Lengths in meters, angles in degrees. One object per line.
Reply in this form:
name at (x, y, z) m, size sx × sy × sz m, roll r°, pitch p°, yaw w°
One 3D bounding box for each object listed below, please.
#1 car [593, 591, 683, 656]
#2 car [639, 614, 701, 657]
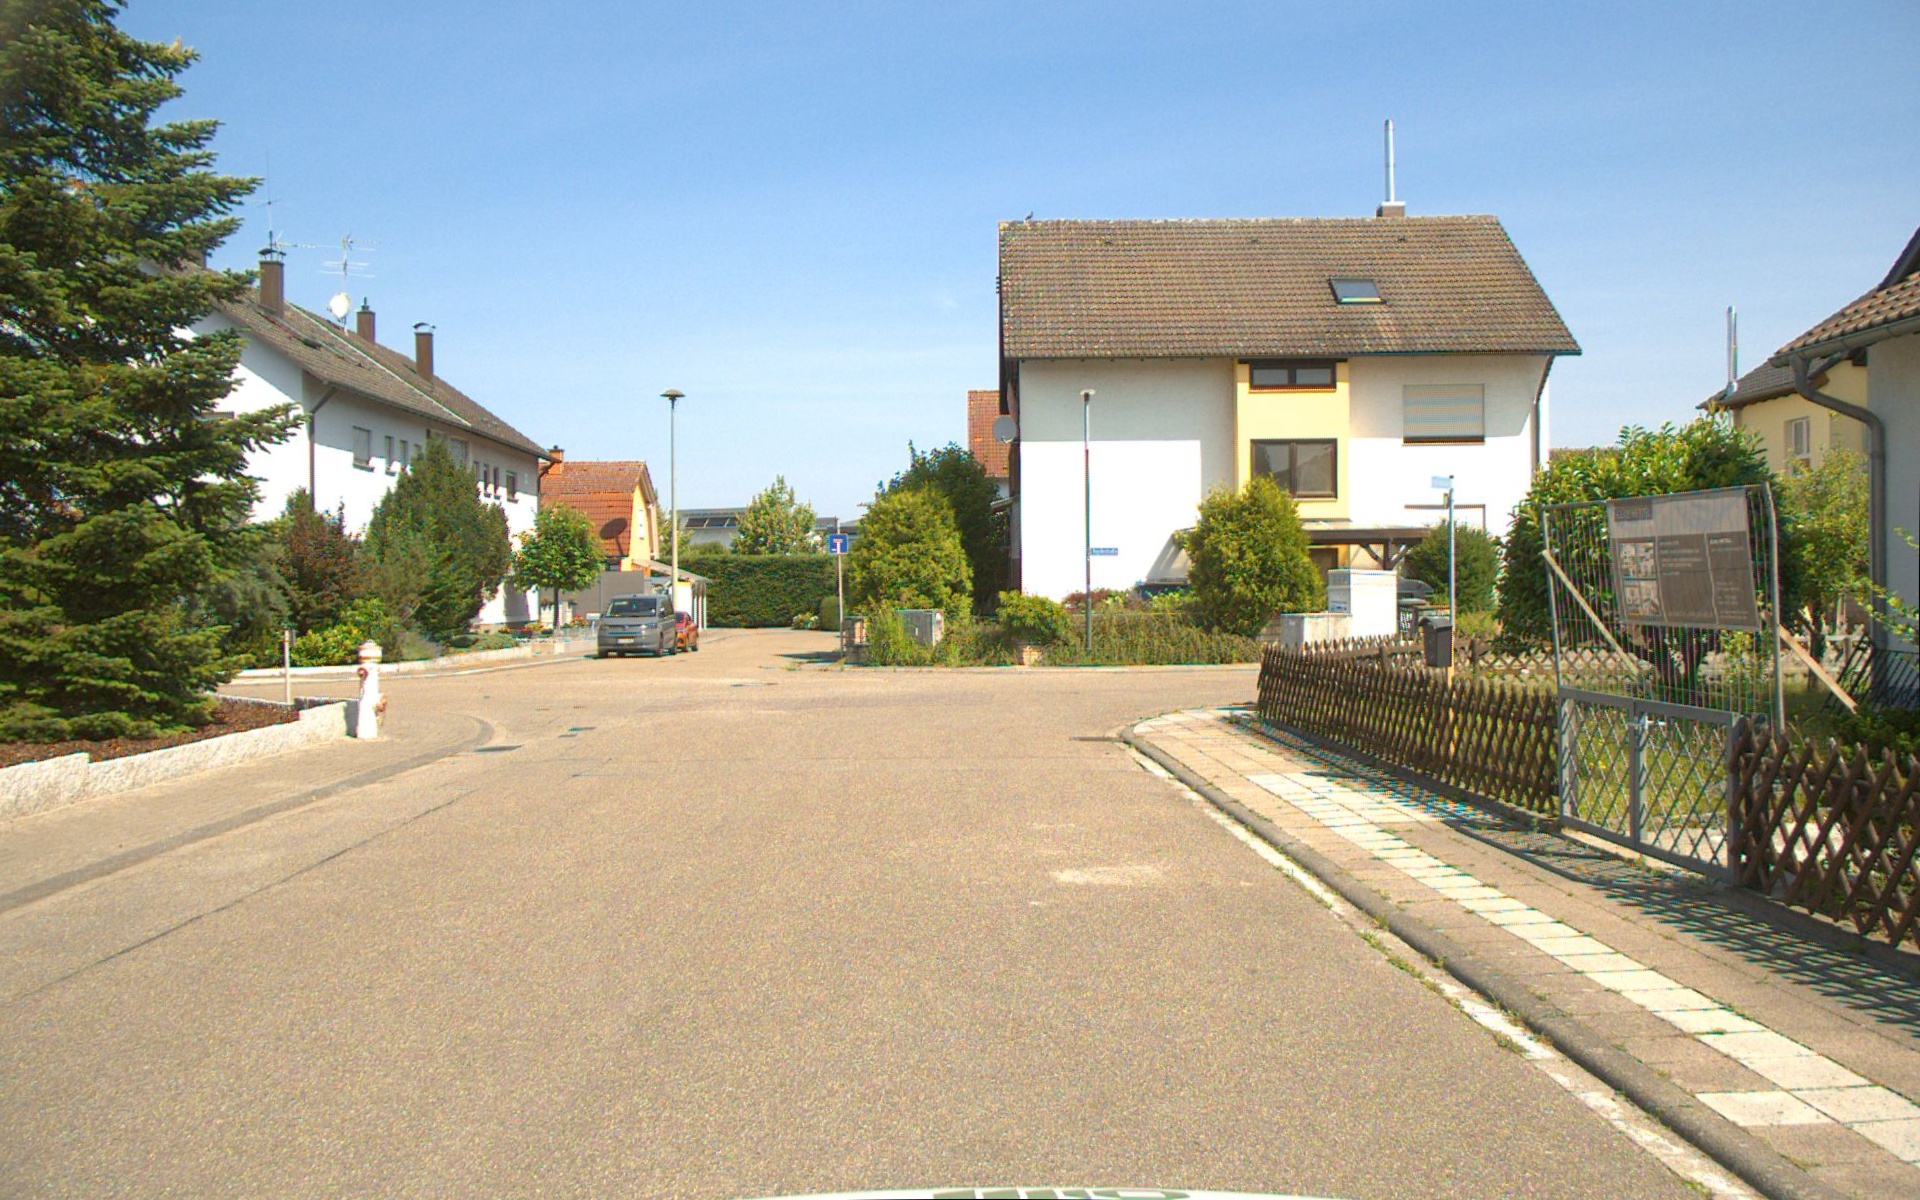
car at (-9.897, 0.688, 51.180) m, size 1.862 × 1.902 × 4.371 m, roll -1°, pitch 0°, yaw 0°
car at (-10.101, 1.210, 57.784) m, size 1.619 × 1.388 × 3.777 m, roll -1°, pitch 0°, yaw -3°
